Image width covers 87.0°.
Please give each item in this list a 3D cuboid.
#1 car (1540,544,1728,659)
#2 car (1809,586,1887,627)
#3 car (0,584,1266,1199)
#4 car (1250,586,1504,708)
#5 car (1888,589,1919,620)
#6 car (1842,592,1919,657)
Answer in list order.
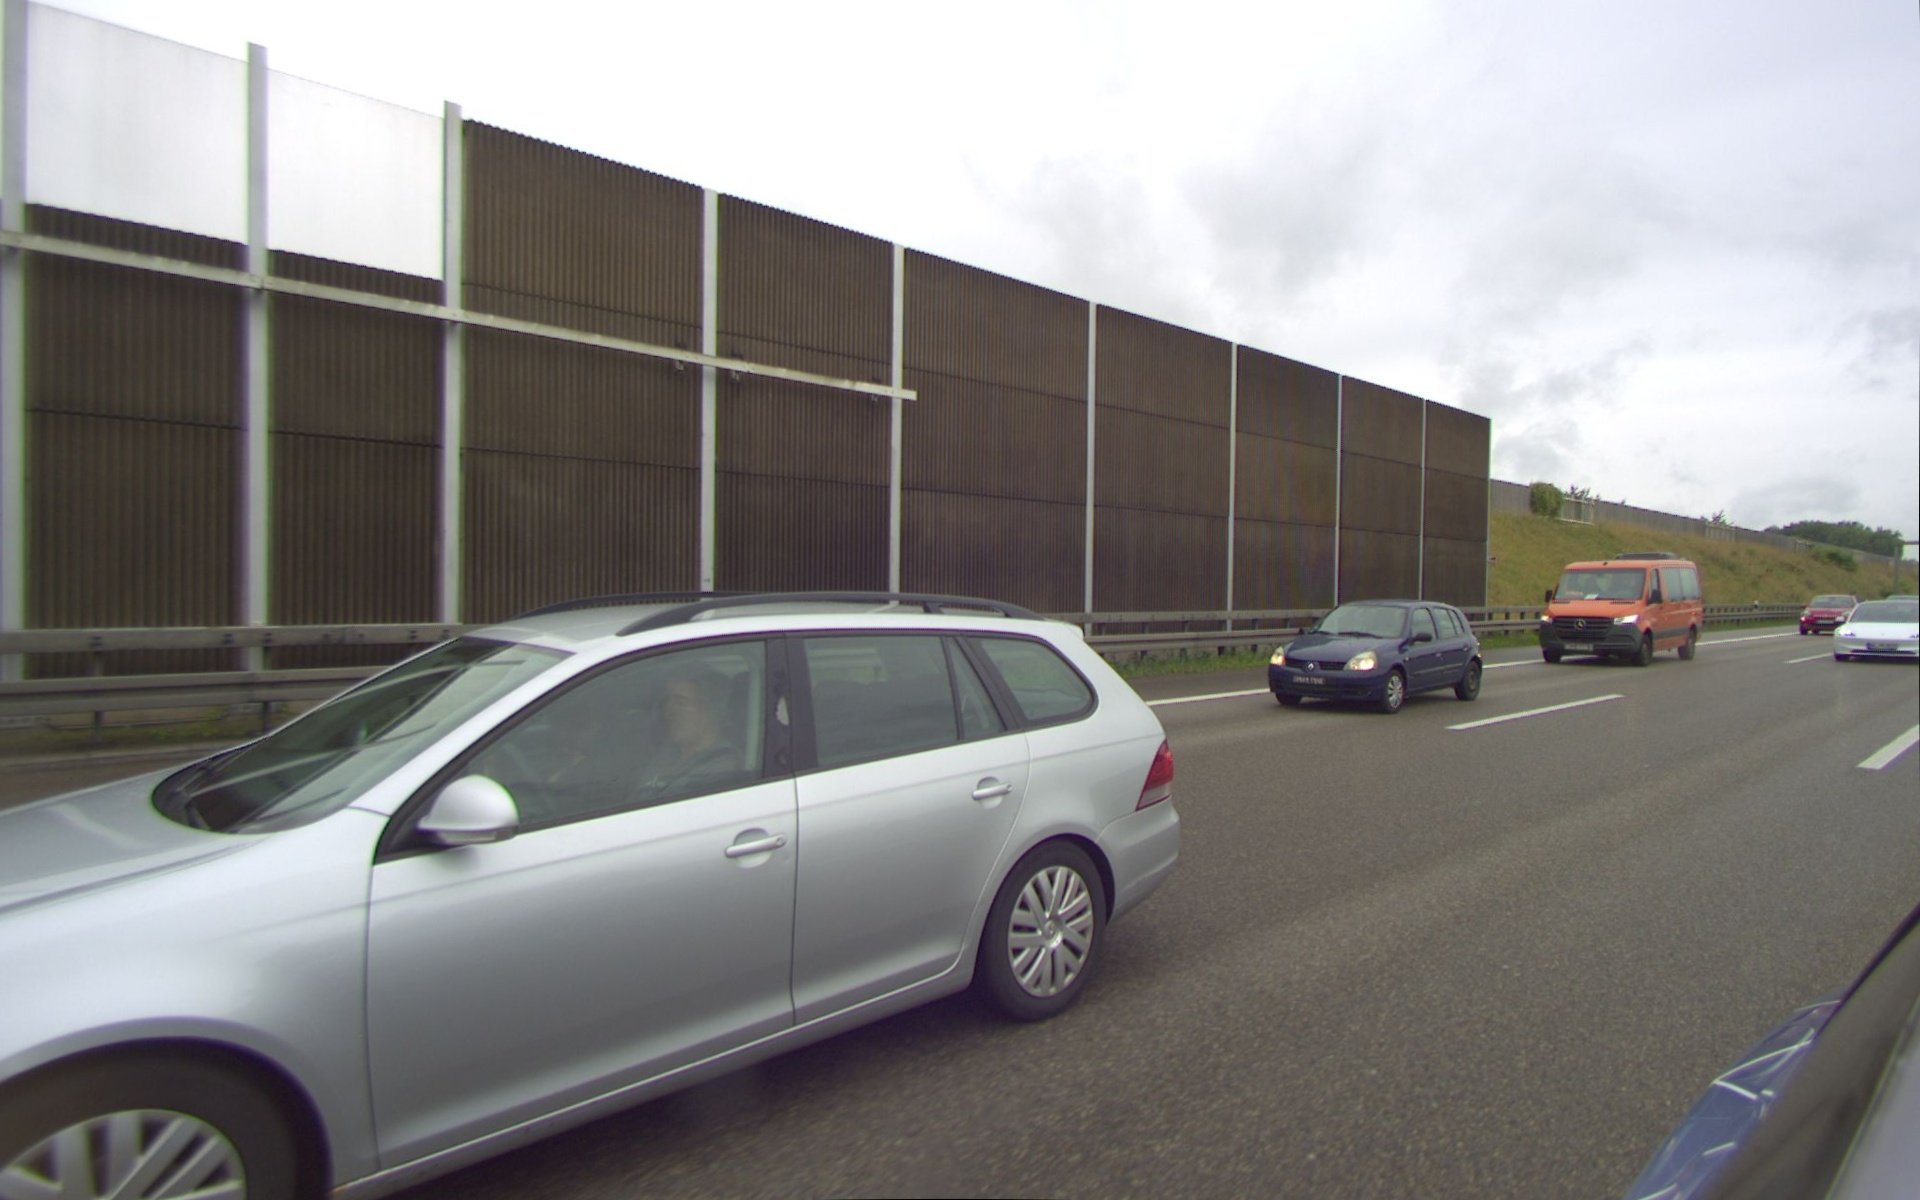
[{"bbox_3d":[15.744,-0.005,23.477,6.073,2.344,2.089,0,1,-41],"label":"car"},{"bbox_3d":[35.697,0.231,40.652,3.932,1.554,1.876,-1,0,-42],"label":"car"},{"bbox_3d":[-0.938,0.674,3.492,4.438,1.443,1.745,-1,1,-41],"label":"car"},{"bbox_3d":[5.825,0.546,13.958,3.808,1.419,1.705,-1,0,-41],"label":"car"},{"bbox_3d":[49.288,0.208,51.999,4.409,1.508,1.927,-1,0,-42],"label":"car"},{"bbox_3d":[22.729,0.520,24.208,4.730,1.380,1.876,-1,0,-42],"label":"car"}]
